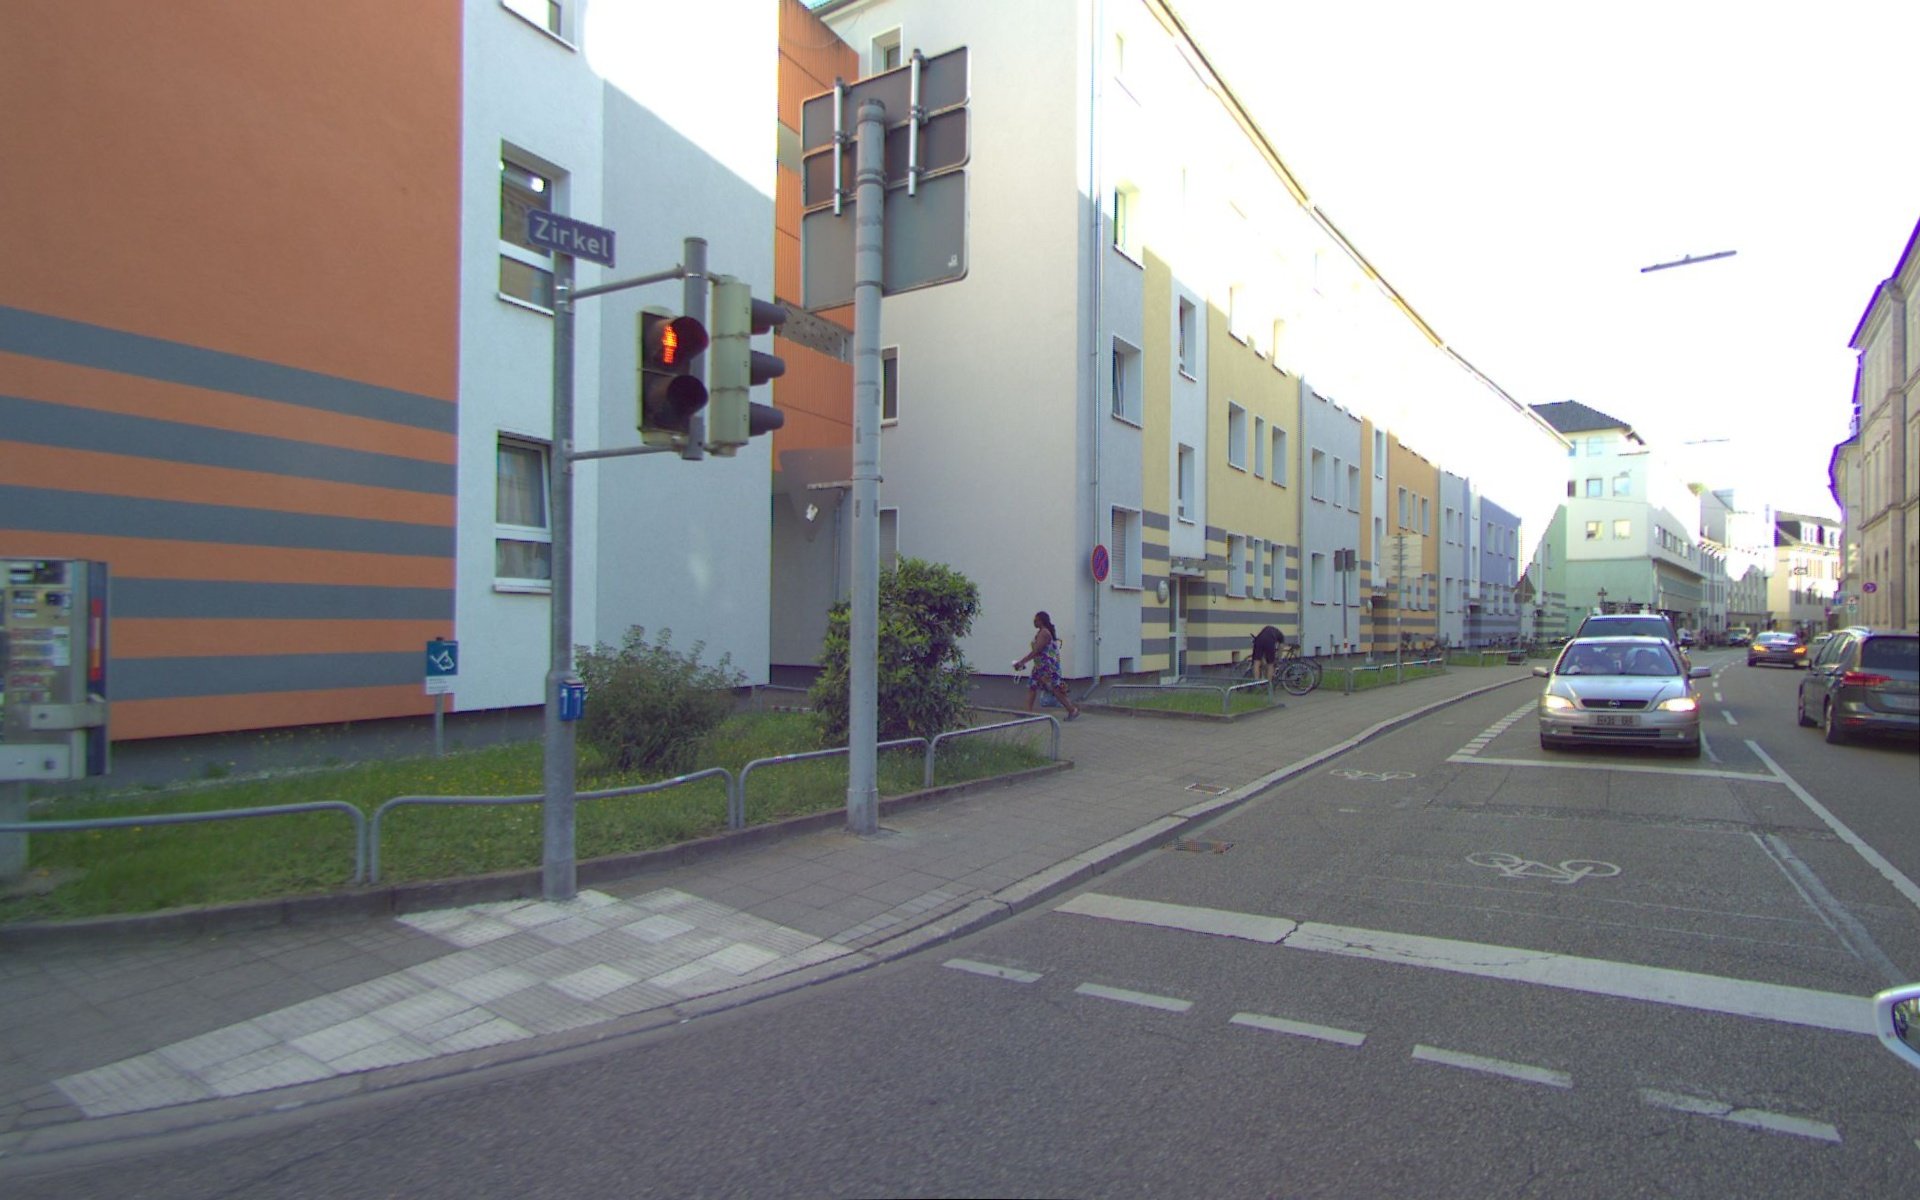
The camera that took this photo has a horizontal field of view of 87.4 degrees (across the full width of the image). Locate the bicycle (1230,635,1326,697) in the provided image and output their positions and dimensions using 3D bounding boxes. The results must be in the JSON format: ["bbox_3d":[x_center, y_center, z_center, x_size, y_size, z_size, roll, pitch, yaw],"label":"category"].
[{"bbox_3d":[6.390,1.298,20.199,1.726,1.160,0.650,0,-1,30],"label":"bicycle"}]

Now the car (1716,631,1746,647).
[{"bbox_3d":[72.586,3.657,94.578,1.846,1.488,3.810,0,-1,44],"label":"car"}]

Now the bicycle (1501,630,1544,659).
[{"bbox_3d":[25.358,2.016,45.293,1.618,1.258,0.465,0,-1,37],"label":"bicycle"}]

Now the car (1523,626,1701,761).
[{"bbox_3d":[8.798,1.117,13.410,1.719,1.505,4.121,-2,-2,36],"label":"car"}]

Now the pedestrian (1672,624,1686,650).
[{"bbox_3d":[51.319,2.623,71.674,0.721,1.853,0.553,1,-1,-27],"label":"pedestrian"}]

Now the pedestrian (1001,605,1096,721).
[{"bbox_3d":[1.303,0.884,14.624,0.997,1.593,1.077,1,-1,31],"label":"pedestrian"}]

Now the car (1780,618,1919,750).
[{"bbox_3d":[13.318,1.135,14.528,1.737,1.628,3.989,4,1,33],"label":"car"}]

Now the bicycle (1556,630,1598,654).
[{"bbox_3d":[34.575,2.326,56.320,1.901,1.195,0.612,3,0,31],"label":"bicycle"}]

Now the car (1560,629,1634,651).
[{"bbox_3d":[43.894,2.732,69.267,4.052,1.462,1.937,-1,-1,42],"label":"car"}]

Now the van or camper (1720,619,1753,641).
[{"bbox_3d":[75.608,2.929,97.805,1.973,2.040,4.454,0,-1,45],"label":"van or camper"}]

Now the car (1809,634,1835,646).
[{"bbox_3d":[111.374,5.101,129.736,3.963,1.487,1.721,2,-1,-37],"label":"car"}]

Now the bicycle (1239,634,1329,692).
[{"bbox_3d":[6.930,1.324,21.511,1.726,1.160,0.650,0,-1,30],"label":"bicycle"}]

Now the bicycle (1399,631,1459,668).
[{"bbox_3d":[15.333,1.613,32.854,1.726,1.160,0.650,0,-1,30],"label":"bicycle"}]

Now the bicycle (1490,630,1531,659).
[{"bbox_3d":[24.372,1.965,44.490,1.564,1.258,0.447,0,-1,38],"label":"bicycle"}]

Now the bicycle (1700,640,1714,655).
[{"bbox_3d":[57.953,3.685,77.900,0.820,1.068,2.540,1,-1,36],"label":"bicycle"}]

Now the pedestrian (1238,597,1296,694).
[{"bbox_3d":[6.100,0.899,19.981,0.860,1.879,0.716,1,-1,-31],"label":"pedestrian"}]

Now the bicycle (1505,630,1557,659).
[{"bbox_3d":[25.967,2.008,45.720,1.983,1.247,0.620,0,-1,37],"label":"bicycle"}]

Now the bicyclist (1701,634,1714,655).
[{"bbox_3d":[58.024,3.431,77.968,0.820,1.582,0.757,1,-1,36],"label":"bicyclist"}]

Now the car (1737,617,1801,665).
[{"bbox_3d":[34.019,1.684,42.322,1.969,1.907,3.984,1,-1,38],"label":"car"}]

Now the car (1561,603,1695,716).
[{"bbox_3d":[12.895,1.074,19.271,1.875,1.859,5.077,-2,-2,36],"label":"car"}]

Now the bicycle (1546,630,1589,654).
[{"bbox_3d":[33.452,2.289,55.353,1.898,1.195,0.613,3,0,24],"label":"bicycle"}]

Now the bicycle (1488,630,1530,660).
[{"bbox_3d":[24.122,1.952,44.157,1.559,1.258,0.383,0,-1,38],"label":"bicycle"}]
